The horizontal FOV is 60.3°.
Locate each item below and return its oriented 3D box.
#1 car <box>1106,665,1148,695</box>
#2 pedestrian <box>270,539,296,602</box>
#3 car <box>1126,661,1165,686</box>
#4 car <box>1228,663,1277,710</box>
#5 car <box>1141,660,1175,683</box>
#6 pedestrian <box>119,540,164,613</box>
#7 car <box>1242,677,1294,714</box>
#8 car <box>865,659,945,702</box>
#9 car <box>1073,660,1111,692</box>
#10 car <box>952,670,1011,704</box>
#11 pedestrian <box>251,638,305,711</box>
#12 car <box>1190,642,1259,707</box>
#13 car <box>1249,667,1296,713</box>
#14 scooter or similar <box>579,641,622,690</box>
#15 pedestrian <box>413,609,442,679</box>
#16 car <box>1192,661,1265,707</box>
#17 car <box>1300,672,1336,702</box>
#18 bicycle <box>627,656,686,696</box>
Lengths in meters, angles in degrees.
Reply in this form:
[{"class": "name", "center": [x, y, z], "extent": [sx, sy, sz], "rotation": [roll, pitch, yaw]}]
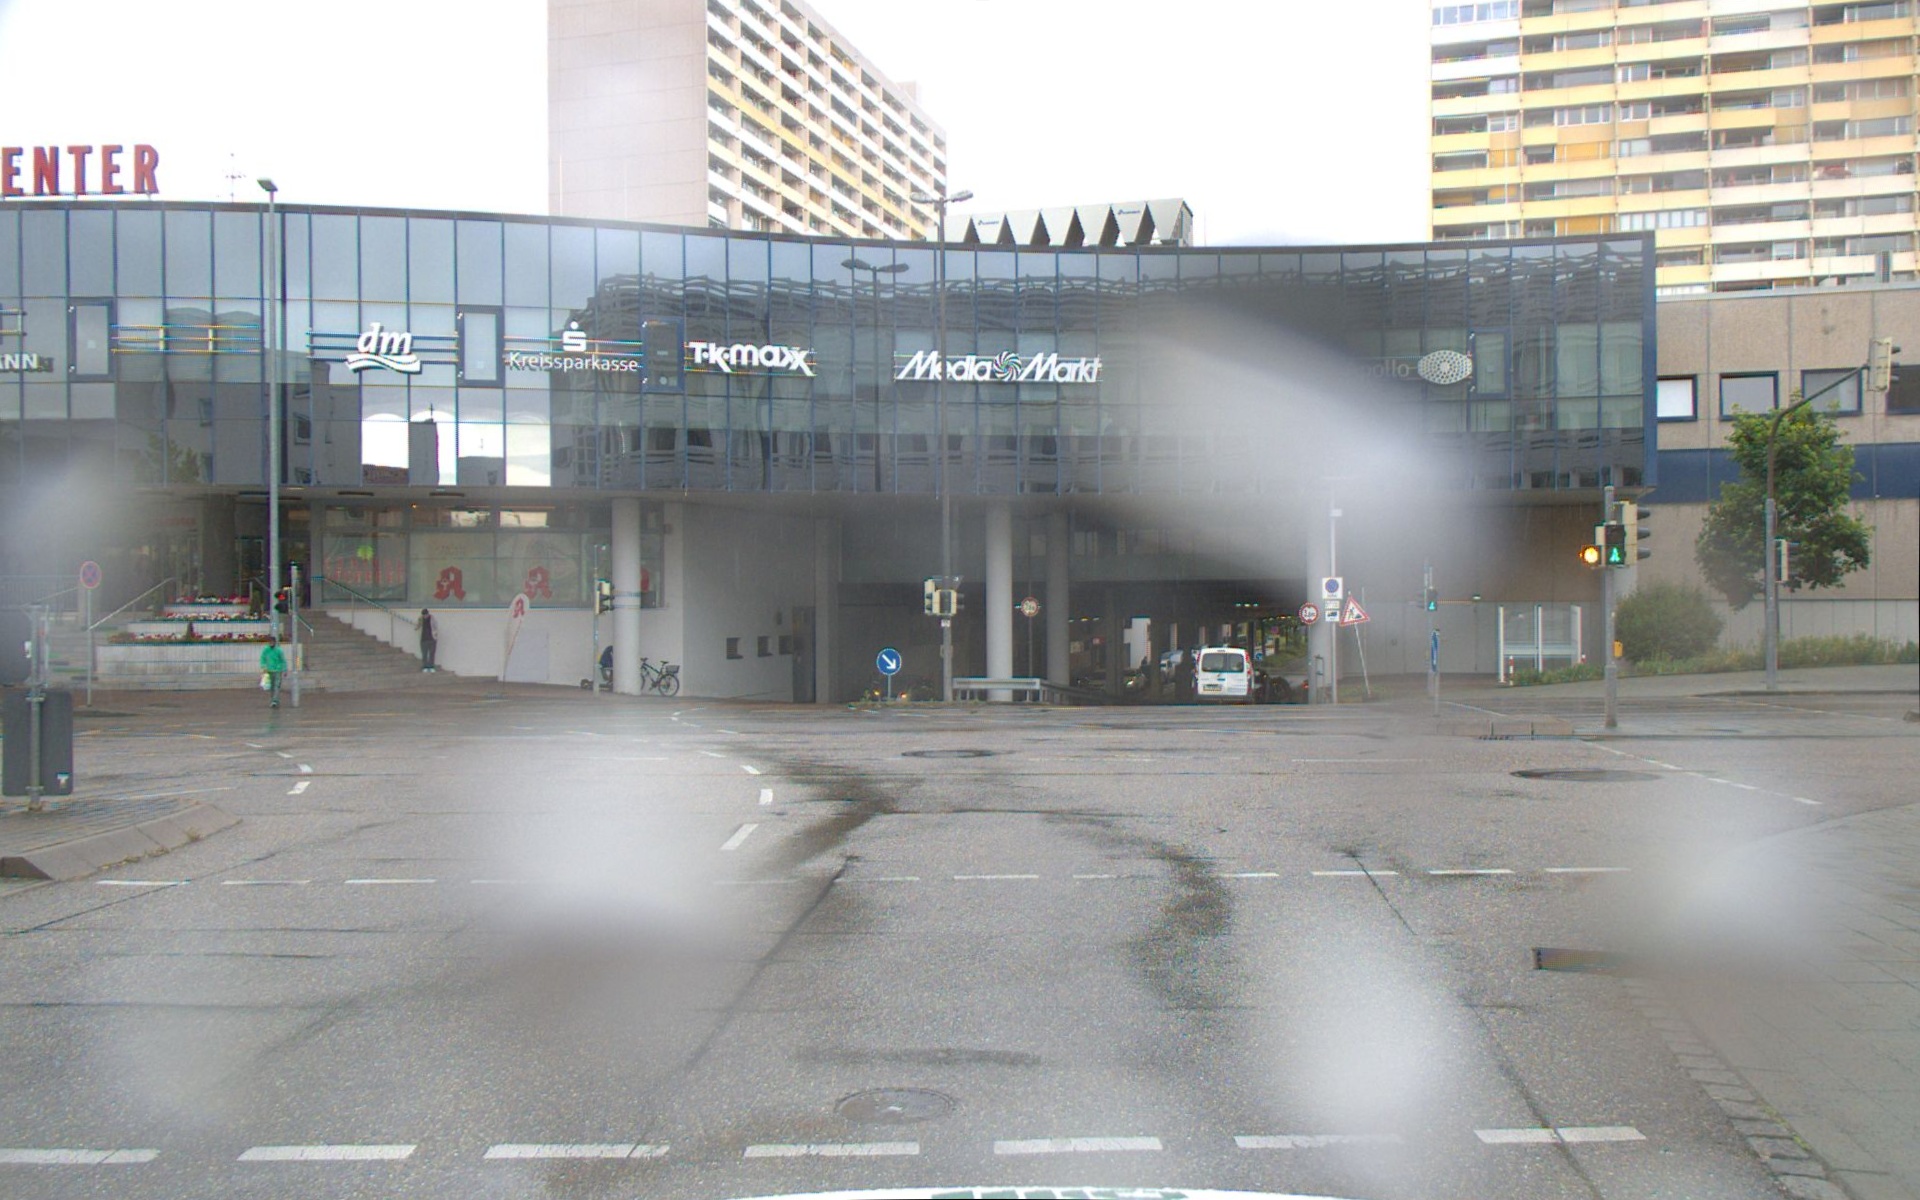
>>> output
[{"class": "car", "center": [10.345, 4.913, 101.955], "extent": [1.951, 1.693, 4.003], "rotation": [1, -1, 15]}, {"class": "pedestrian", "center": [-19.845, -0.861, 48.512], "extent": [0.622, 1.839, 0.501], "rotation": [1, -1, -18]}, {"class": "car", "center": [12.302, 4.852, 109.622], "extent": [1.951, 1.489, 4.003], "rotation": [-1, -1, 15]}, {"class": "car", "center": [10.833, 3.215, 61.061], "extent": [1.598, 1.640, 4.265], "rotation": [-2, -4, 12]}, {"class": "car", "center": [13.751, 4.947, 114.725], "extent": [1.951, 1.489, 4.003], "rotation": [-1, -1, 12]}, {"class": "pedestrian", "center": [-23.395, -0.676, 47.289], "extent": [0.935, 2.049, 0.828], "rotation": [0, -1, 41]}, {"class": "car", "center": [12.347, 3.831, 66.102], "extent": [1.741, 1.425, 4.002], "rotation": [-1, -4, 15]}, {"class": "car", "center": [-2.038, 3.062, 62.406], "extent": [1.852, 1.496, 4.029], "rotation": [-1, -5, 16]}, {"class": "car", "center": [7.679, 4.409, 96.134], "extent": [1.797, 1.758, 4.003], "rotation": [-1, -1, 11]}, {"class": "car", "center": [0.992, 3.919, 74.379], "extent": [1.733, 1.490, 3.878], "rotation": [-1, -3, 15]}, {"class": "pedestrian", "center": [-15.718, 1.710, 38.146], "extent": [0.930, 1.652, 0.808], "rotation": [-1, -1, -4]}, {"class": "car", "center": [7.818, 2.181, 48.714], "extent": [1.884, 1.829, 4.299], "rotation": [-1, -2, 10]}, {"class": "car", "center": [13.480, 3.854, 71.188], "extent": [1.753, 1.802, 4.003], "rotation": [-1, -1, 14]}, {"class": "scooter or similar", "center": [-10.436, 1.901, 48.016], "extent": [1.147, 1.397, 0.487], "rotation": [1, -1, -16]}, {"class": "pedestrian", "center": [-14.968, 1.234, 46.514], "extent": [0.643, 1.942, 0.593], "rotation": [1, -1, -9]}, {"class": "car", "center": [9.190, 2.883, 56.356], "extent": [1.721, 1.490, 3.943], "rotation": [-2, -4, 20]}, {"class": "car", "center": [19.735, 4.776, 91.124], "extent": [1.847, 1.517, 3.844], "rotation": [1, -1, 13]}, {"class": "bicycle", "center": [-8.908, 2.231, 48.522], "extent": [1.566, 1.036, 0.447], "rotation": [7, -4, -32]}]
